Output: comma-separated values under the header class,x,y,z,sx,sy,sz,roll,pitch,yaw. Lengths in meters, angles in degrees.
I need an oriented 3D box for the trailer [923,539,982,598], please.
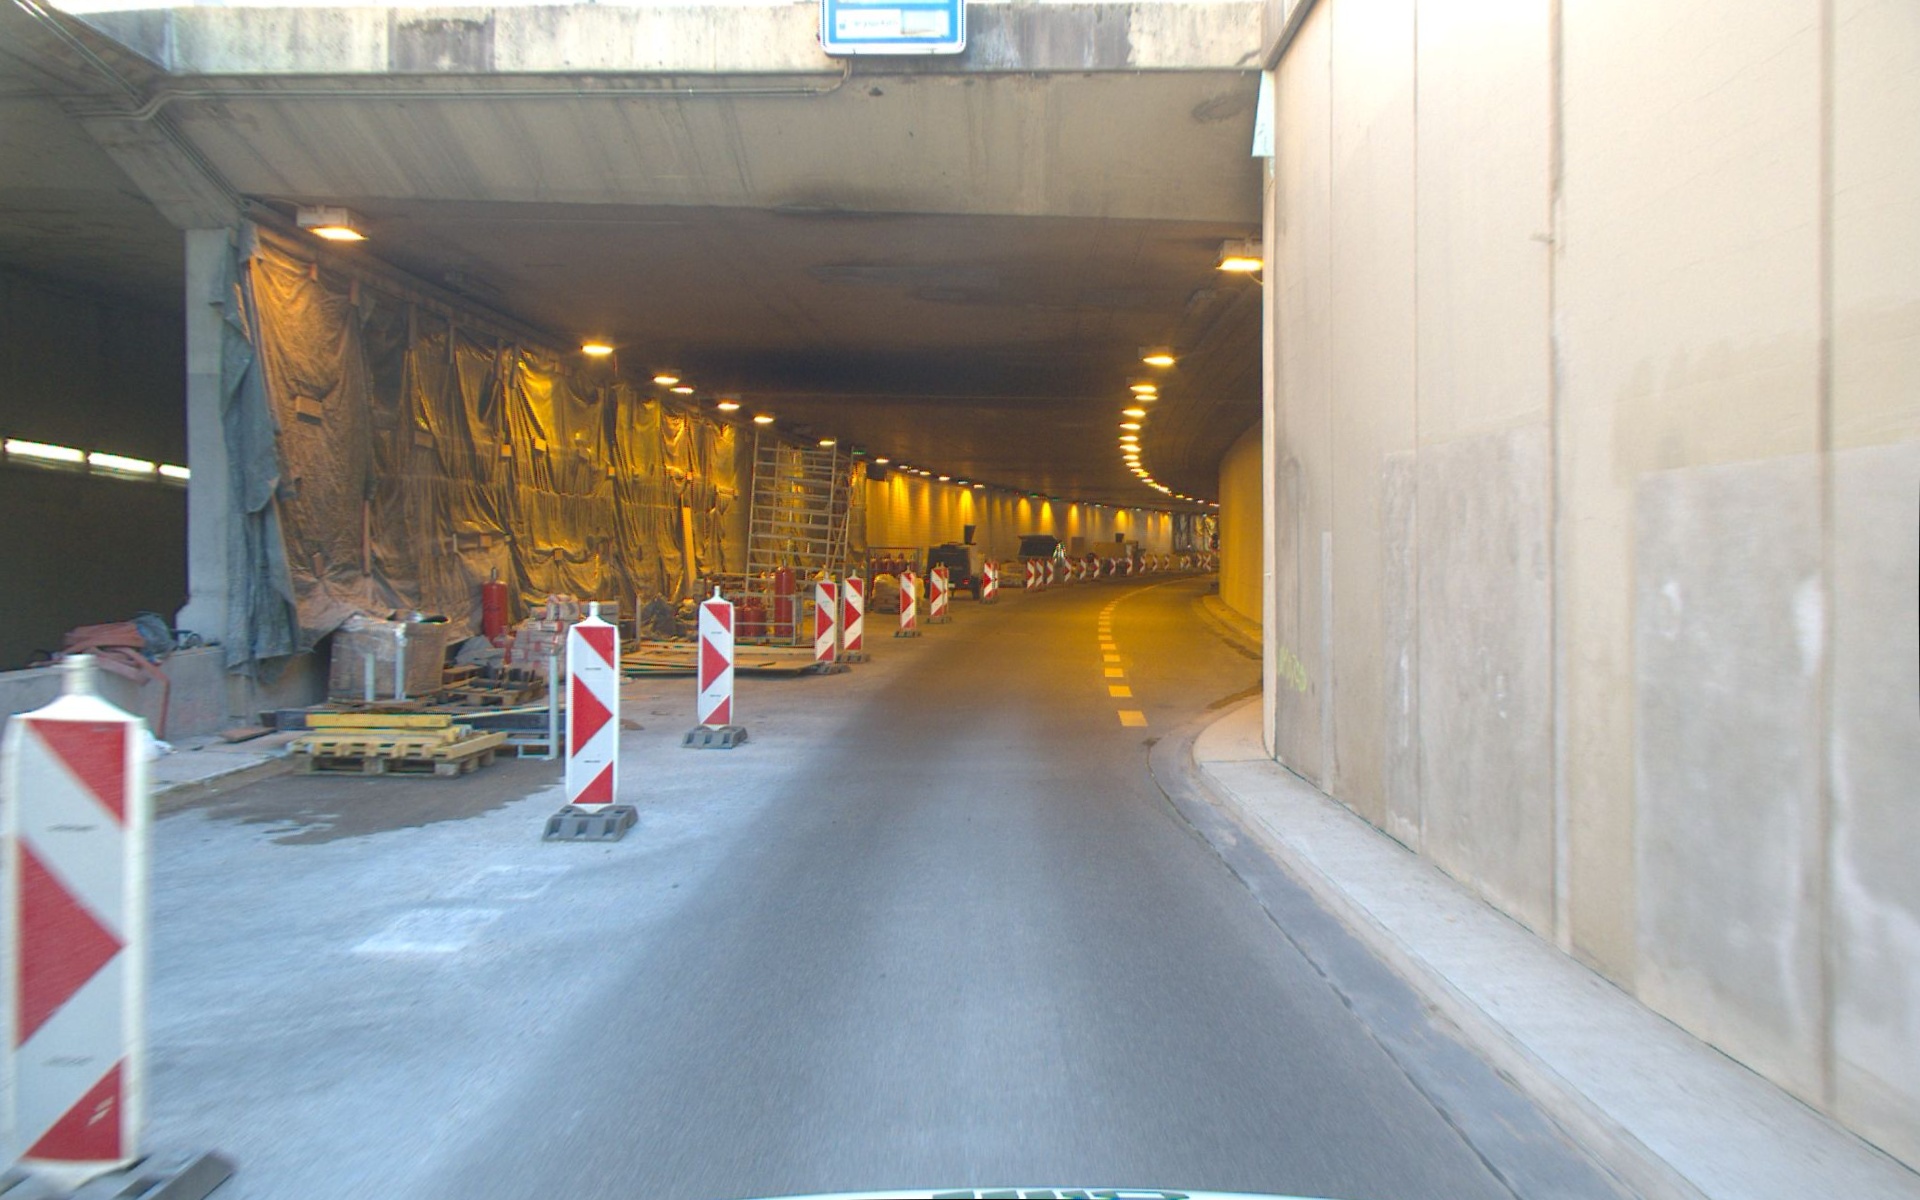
class,x,y,z,sx,sy,sz,roll,pitch,yaw
trailer,-0.219,-1.020,53.212,1.547,1.829,2.942,1,1,6
